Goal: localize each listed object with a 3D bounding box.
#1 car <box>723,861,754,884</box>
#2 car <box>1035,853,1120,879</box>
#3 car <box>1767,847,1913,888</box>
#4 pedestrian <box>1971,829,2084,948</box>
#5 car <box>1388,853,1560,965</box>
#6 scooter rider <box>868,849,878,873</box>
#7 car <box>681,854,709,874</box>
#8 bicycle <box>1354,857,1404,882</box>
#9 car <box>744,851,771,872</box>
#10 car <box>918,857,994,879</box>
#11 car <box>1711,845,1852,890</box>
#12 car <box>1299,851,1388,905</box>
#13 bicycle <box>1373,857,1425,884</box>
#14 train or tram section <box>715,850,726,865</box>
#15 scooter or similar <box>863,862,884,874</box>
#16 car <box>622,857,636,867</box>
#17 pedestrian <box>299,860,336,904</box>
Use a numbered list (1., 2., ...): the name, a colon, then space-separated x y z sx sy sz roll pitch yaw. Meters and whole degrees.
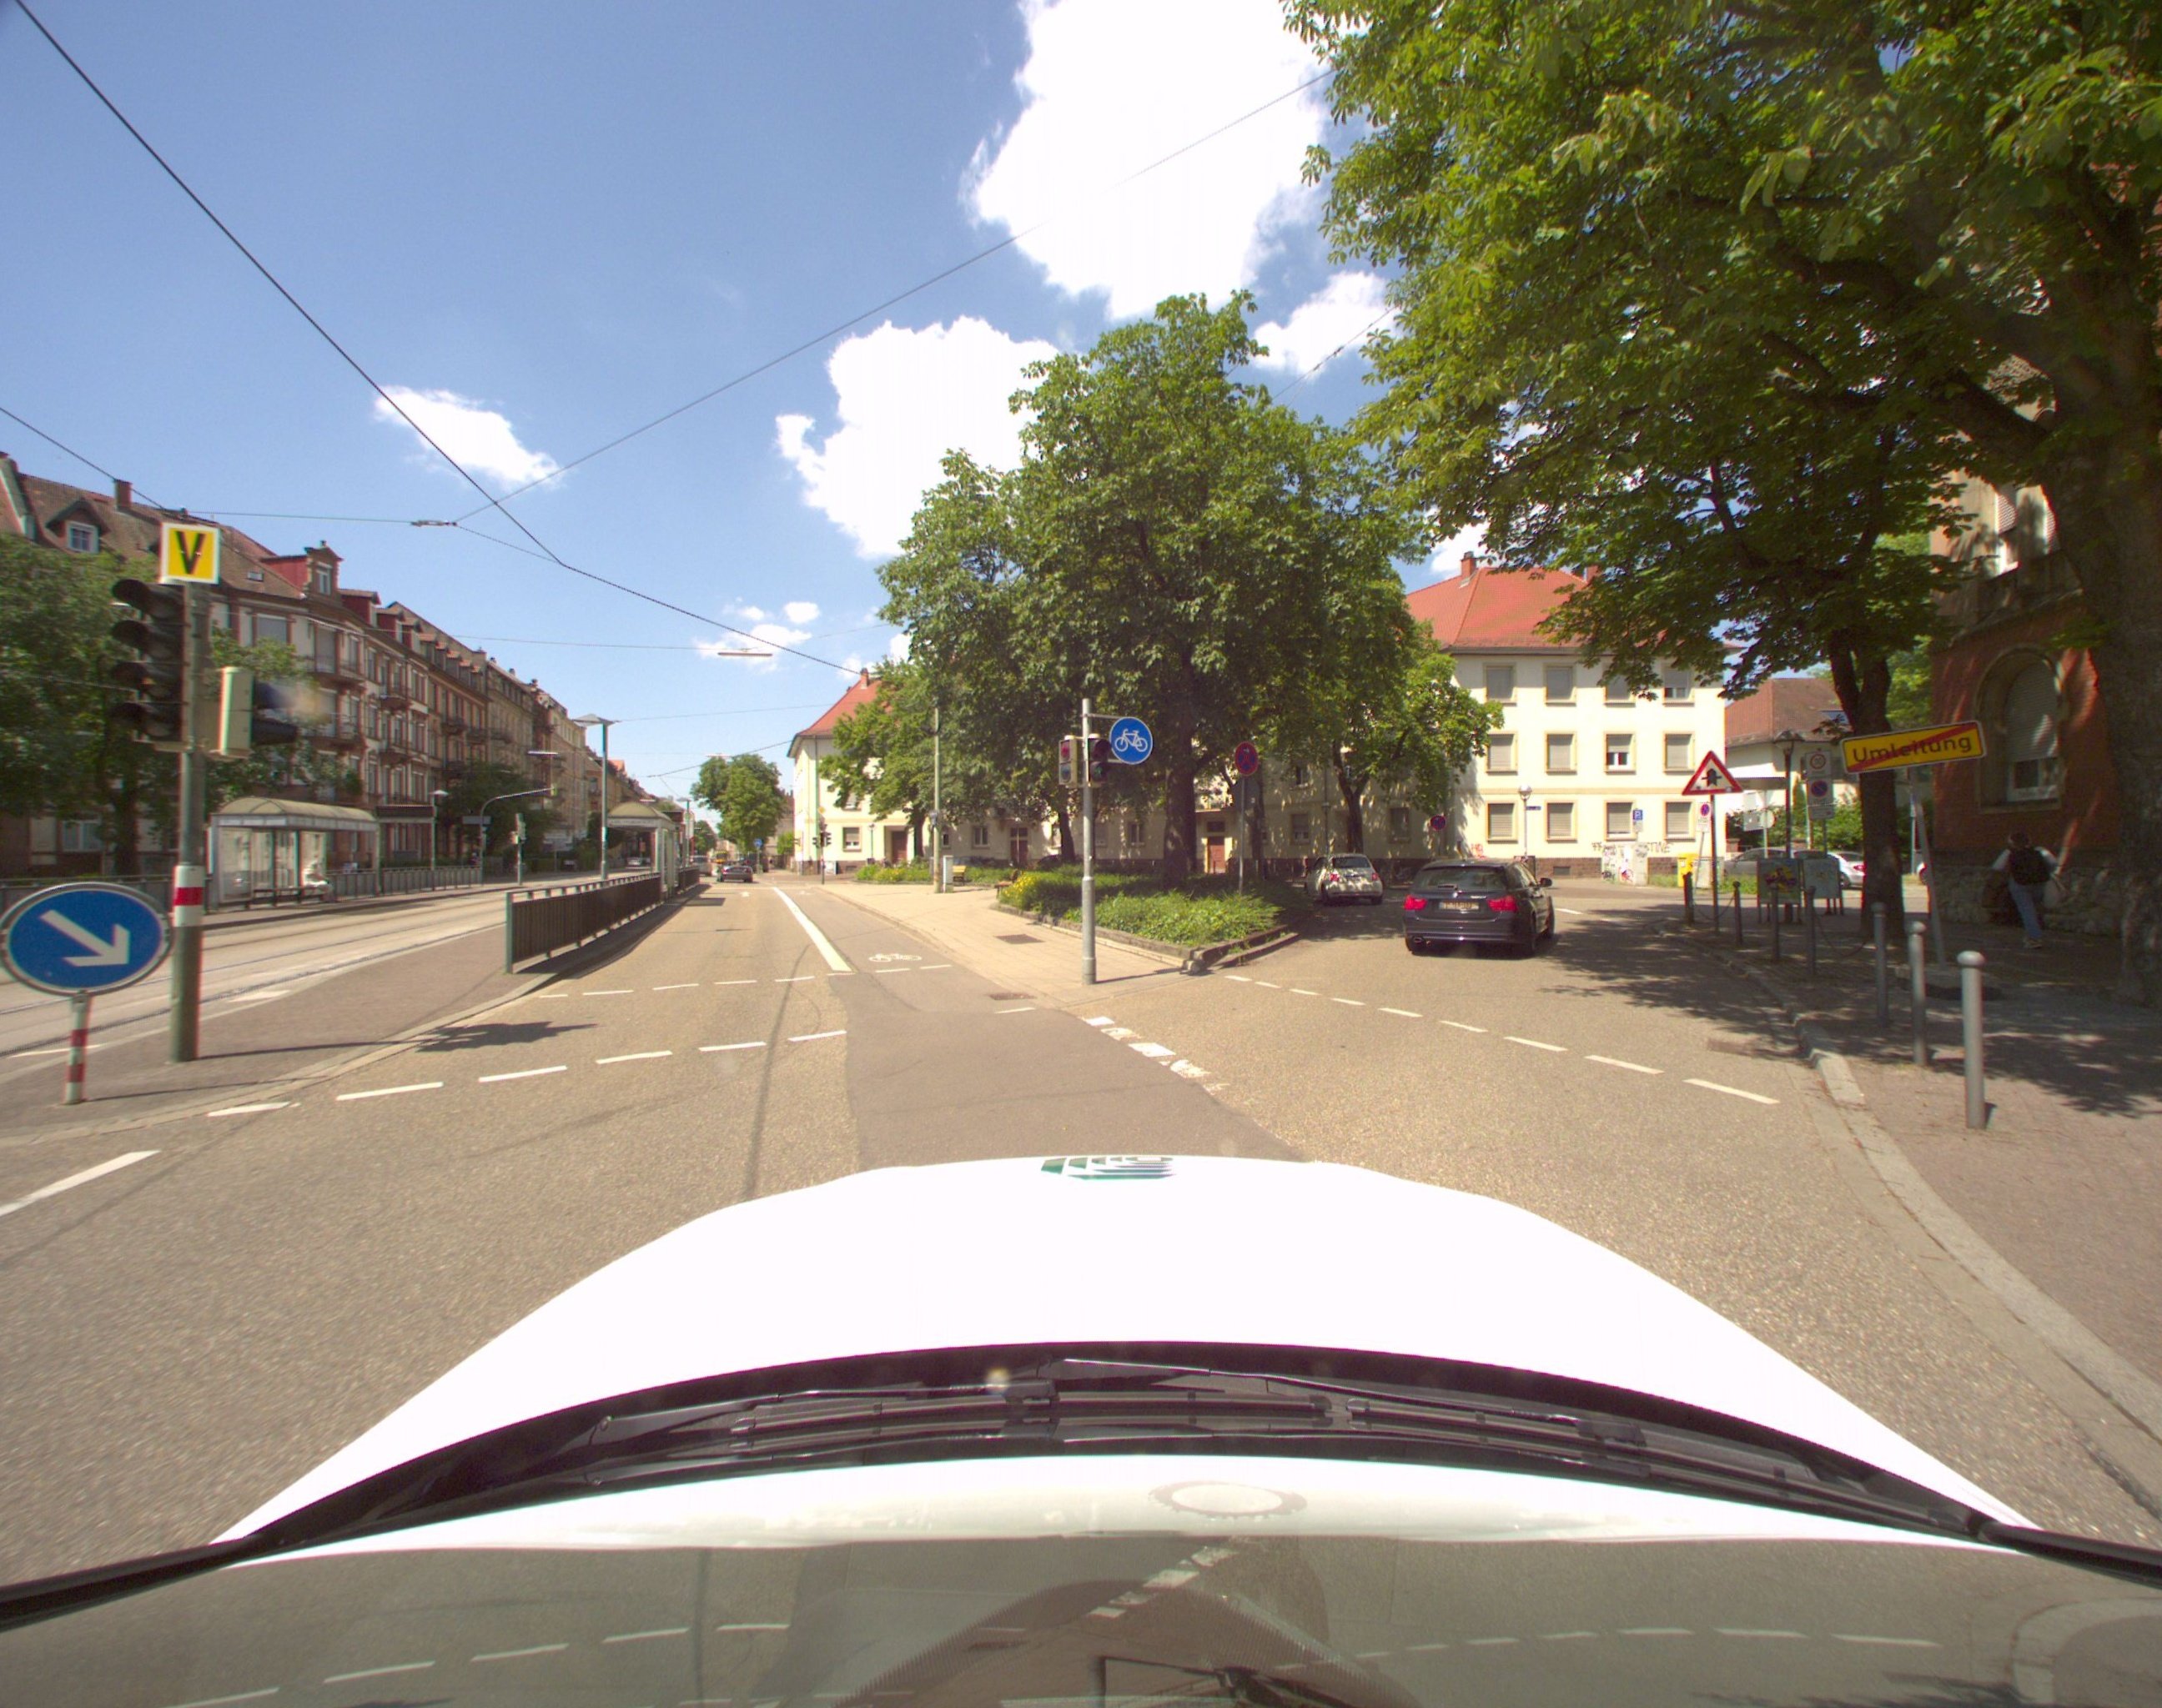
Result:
1. car: -20.648 1.074 49.063 1.699 1.323 3.791 0 0 -24
2. car: -0.223 0.626 43.768 4.283 1.328 1.803 -1 0 35
3. car: 26.903 0.453 29.050 1.672 1.376 3.728 -1 0 -2
4. pedestrian: 12.977 0.454 11.195 0.741 1.556 0.806 -1 0 27
5. car: 6.406 0.717 12.962 1.706 1.409 4.594 -1 0 35
6. scooter rider: -14.598 0.464 57.176 0.594 1.687 0.523 0 0 -28
7. car: -30.242 0.759 63.715 1.702 1.514 3.784 0 0 -30
8. bicycle: 13.024 0.674 35.603 2.217 1.058 0.553 -1 0 -21
9. car: -29.481 0.680 74.045 2.004 1.849 3.966 0 0 -26
10. car: -7.211 0.803 46.980 3.960 1.243 1.629 -1 0 12
11. car: 24.577 0.451 28.758 1.672 1.442 3.728 -1 0 -2
12. car: 7.784 0.653 24.438 1.678 1.484 3.688 -1 0 4
13. bicycle: 13.198 0.682 33.797 2.220 1.058 0.649 -1 0 -25
14. train or tram section: -87.115 0.880 196.607 2.199 3.482 8.778 -1 0 -23
15. scooter or similar: -14.587 0.979 57.180 1.319 0.837 0.522 0 0 -28
16. car: -75.119 1.399 135.377 1.799 1.586 3.961 1 -1 -31
17. pedestrian: -22.090 0.798 23.571 0.617 1.243 0.622 0 0 -28
